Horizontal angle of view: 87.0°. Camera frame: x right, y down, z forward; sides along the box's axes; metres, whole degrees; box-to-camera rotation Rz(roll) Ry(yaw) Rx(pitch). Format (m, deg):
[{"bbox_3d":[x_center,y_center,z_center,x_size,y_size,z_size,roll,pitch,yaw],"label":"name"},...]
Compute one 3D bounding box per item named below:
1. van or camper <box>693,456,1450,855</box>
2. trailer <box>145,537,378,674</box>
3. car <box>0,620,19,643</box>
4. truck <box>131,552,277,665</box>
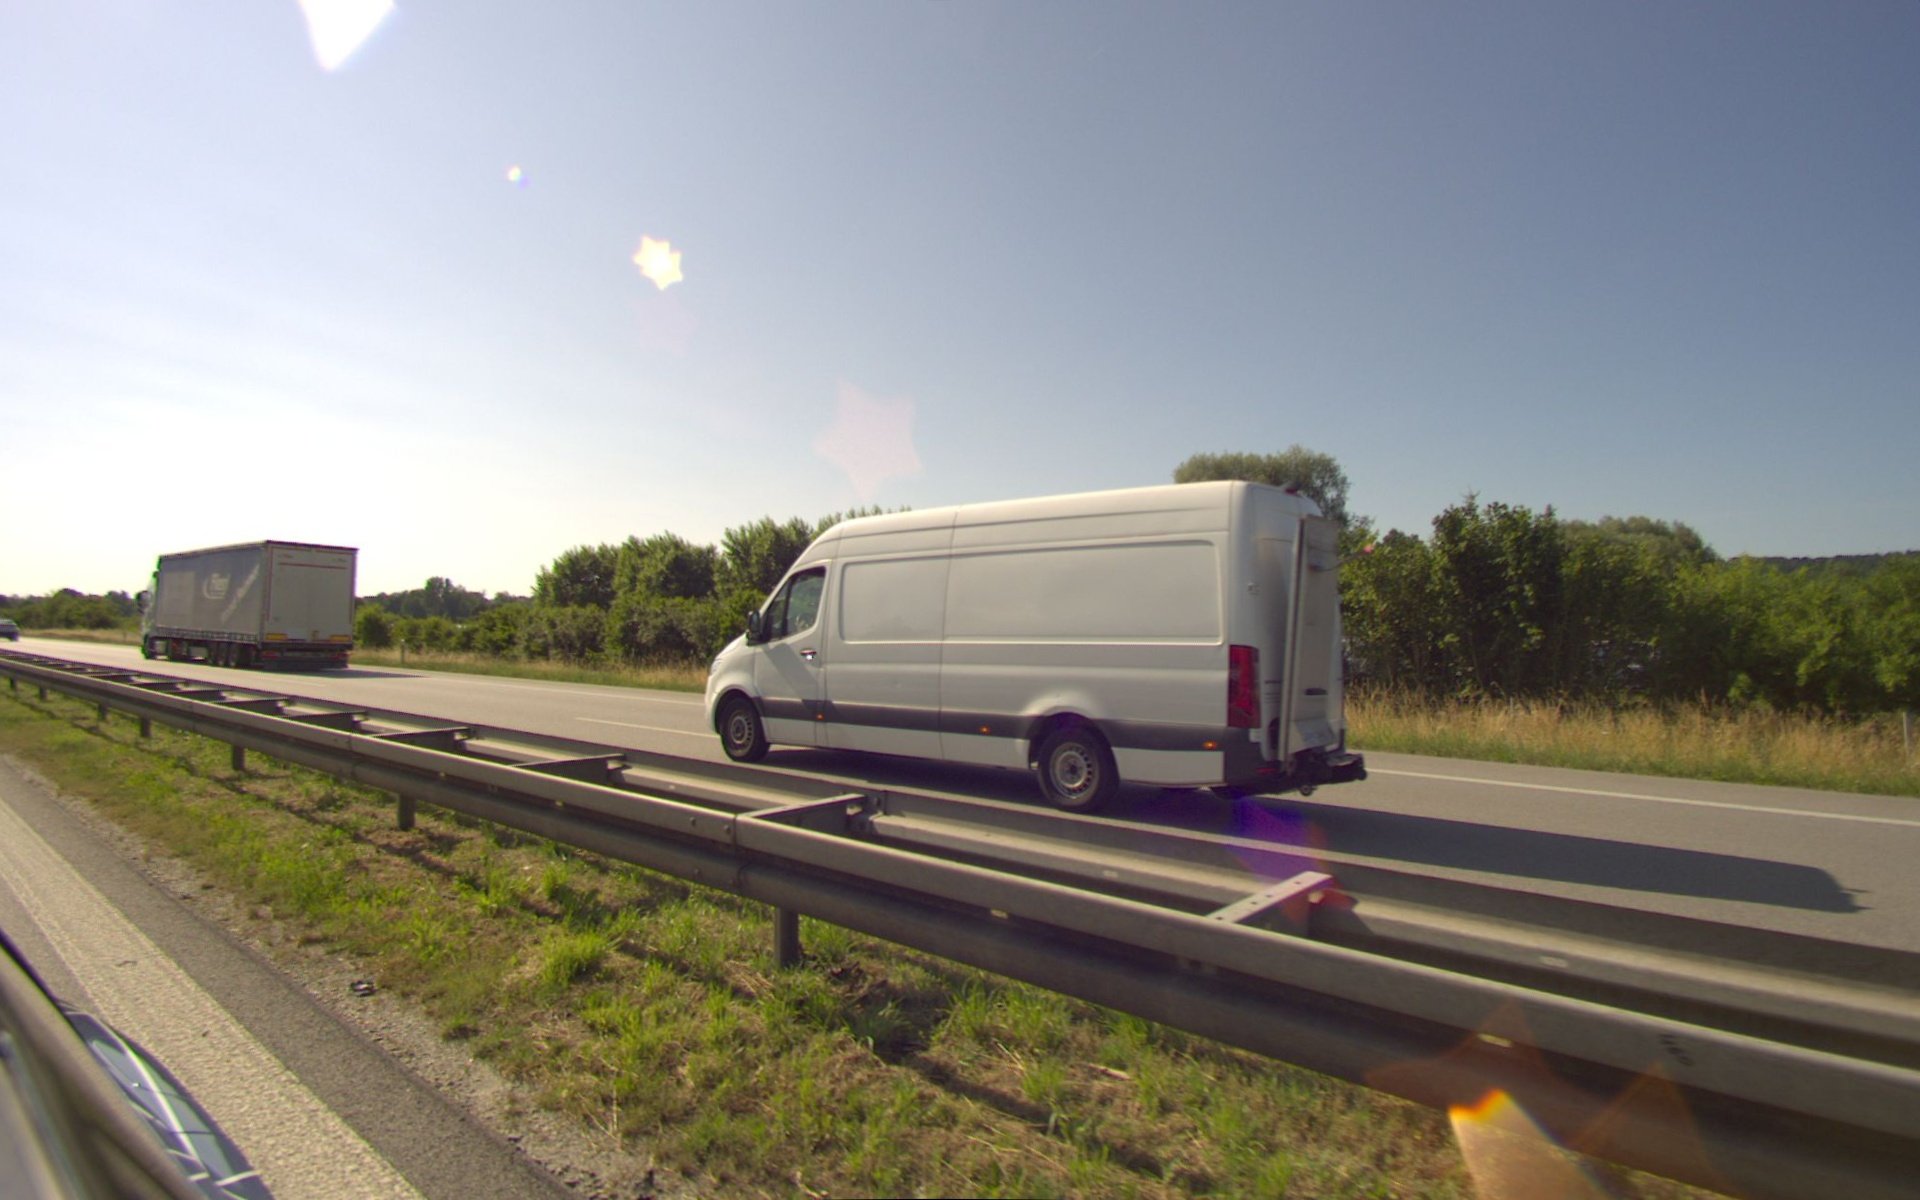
[{"bbox_3d":[0.459,0.419,9.507,7.224,2.516,1.973,-1,-3,41],"label":"van or camper"},{"bbox_3d":[-25.391,0.316,36.215,14.589,4.090,3.151,-1,-4,41],"label":"trailer"},{"bbox_3d":[-69.946,2.249,73.545,4.766,1.594,1.707,-1,-4,42],"label":"car"},{"bbox_3d":[-30.190,0.429,40.337,6.383,4.145,3.136,-1,-3,40],"label":"truck"}]
